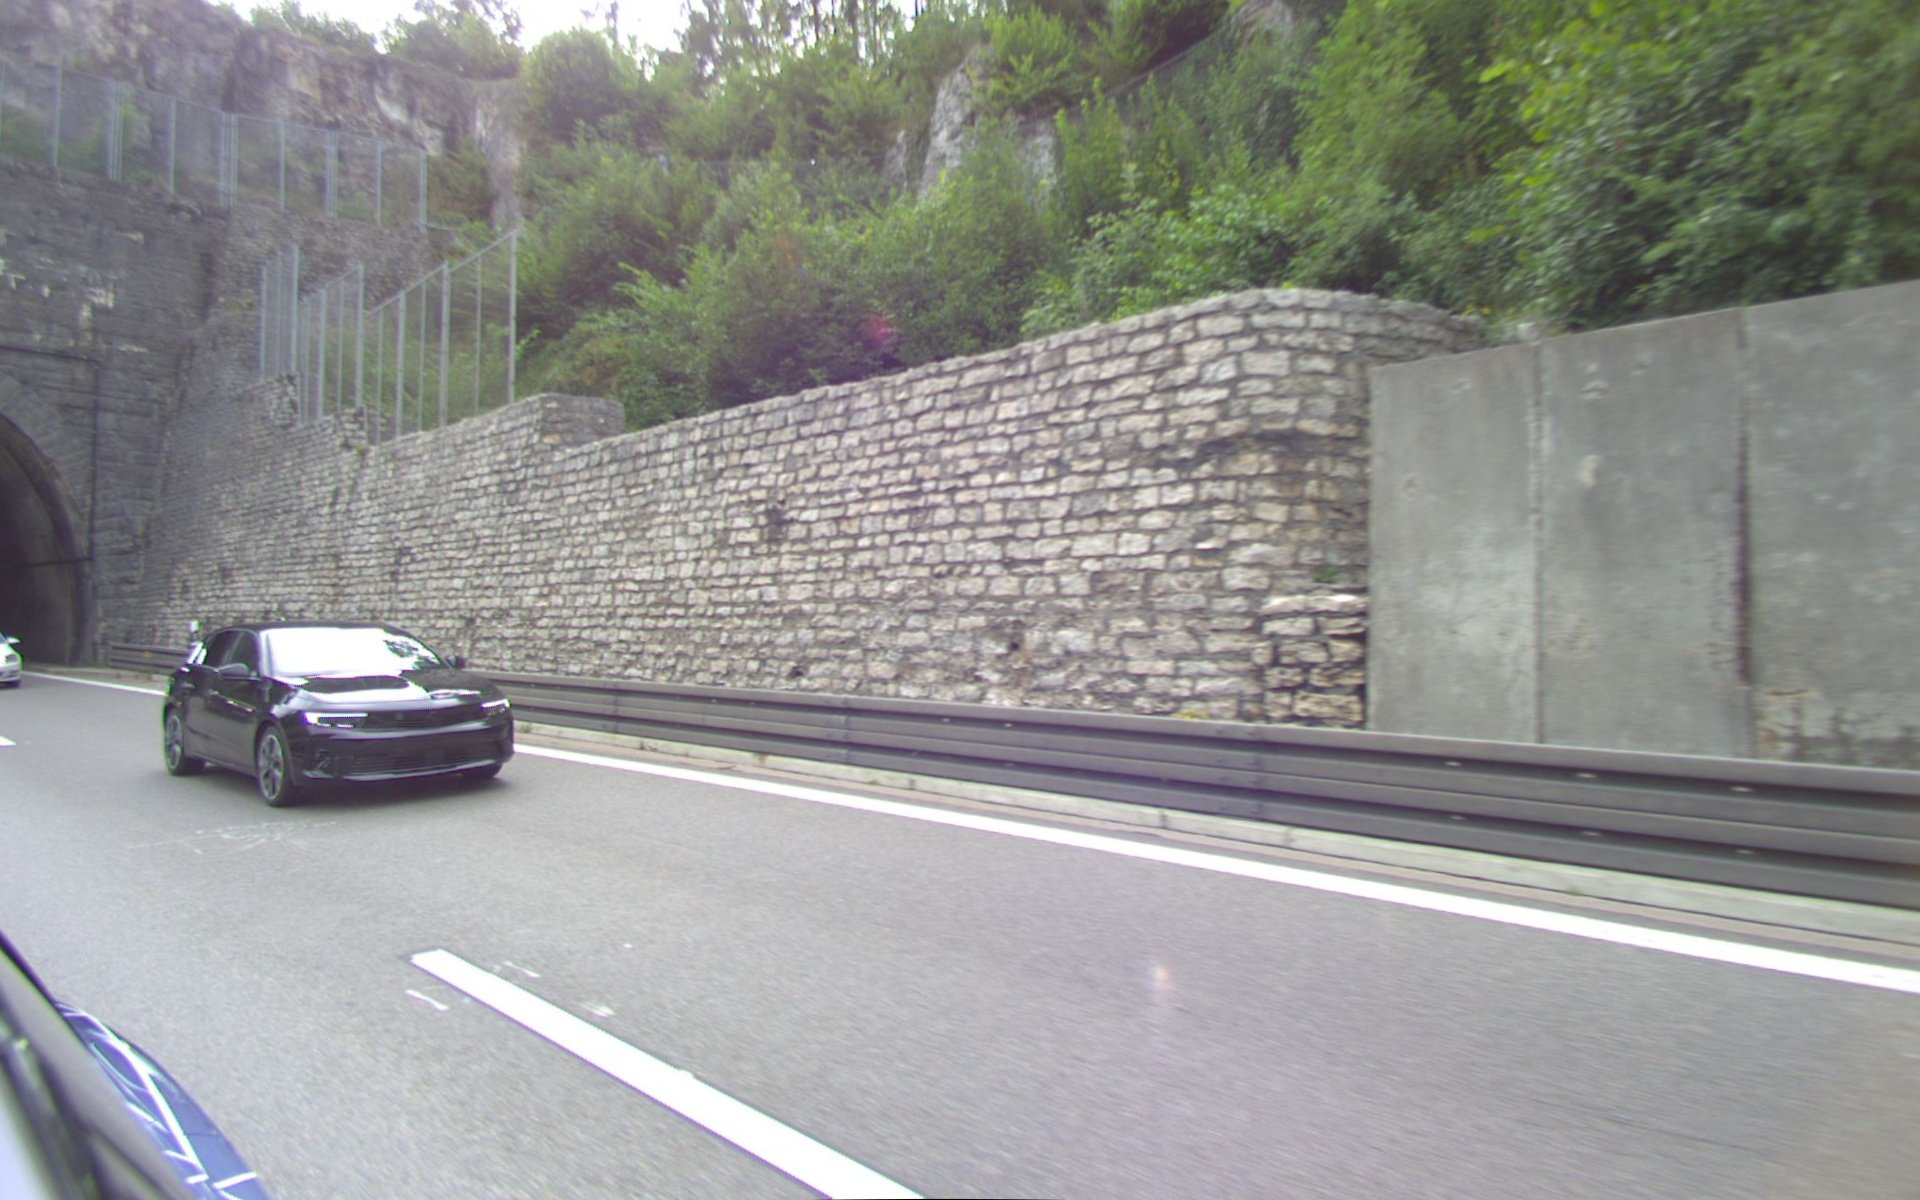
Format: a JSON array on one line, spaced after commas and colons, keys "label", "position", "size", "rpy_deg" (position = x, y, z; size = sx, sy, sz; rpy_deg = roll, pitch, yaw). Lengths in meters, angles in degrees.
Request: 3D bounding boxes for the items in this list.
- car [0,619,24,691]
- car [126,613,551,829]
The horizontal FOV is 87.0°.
[{"label": "car", "position": [-21.927, 1.163, 21.901], "size": [4.623, 1.493, 1.827], "rpy_deg": [-1, -1, 39]}, {"label": "car", "position": [-5.780, 0.905, 9.169], "size": [4.574, 1.472, 1.757], "rpy_deg": [-2, 0, 37]}]
